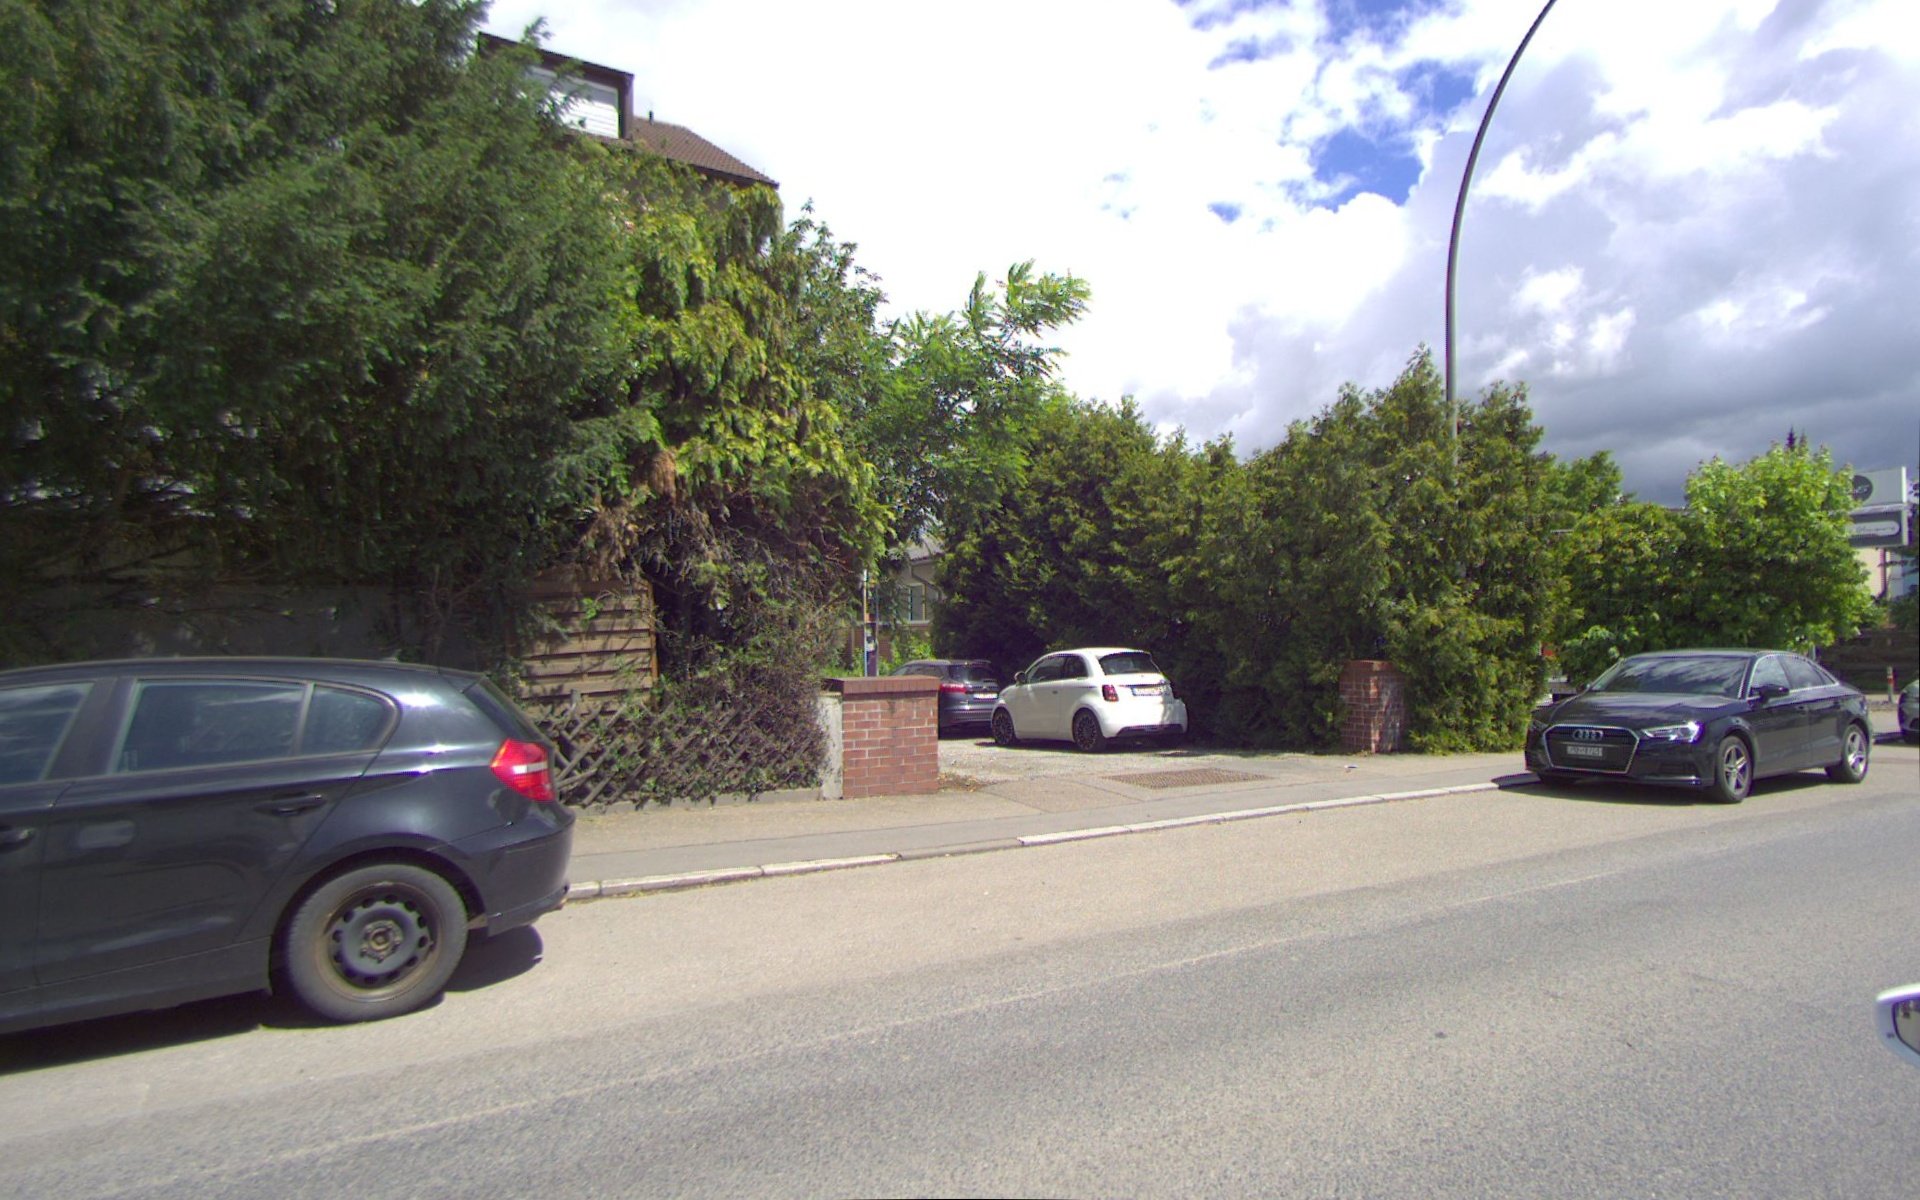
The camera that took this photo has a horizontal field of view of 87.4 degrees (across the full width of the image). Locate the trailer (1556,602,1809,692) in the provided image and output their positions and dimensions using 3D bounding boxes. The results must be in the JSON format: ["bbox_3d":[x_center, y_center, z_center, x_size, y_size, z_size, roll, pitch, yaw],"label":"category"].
[{"bbox_3d":[23.814,1.657,33.481,2.699,2.686,6.217,1,-5,-29],"label":"trailer"}]

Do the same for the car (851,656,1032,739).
[{"bbox_3d":[-0.486,1.913,20.086,1.976,1.470,3.971,1,-5,-30],"label":"car"}]

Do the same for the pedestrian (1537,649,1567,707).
[{"bbox_3d":[17.182,2.252,29.173,0.491,1.669,0.521,1,-4,-30],"label":"pedestrian"}]

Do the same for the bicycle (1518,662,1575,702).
[{"bbox_3d":[17.581,2.445,30.074,2.159,1.100,0.468,1,0,-30],"label":"bicycle"}]

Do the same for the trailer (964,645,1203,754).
[{"bbox_3d":[1.791,1.552,15.934,1.778,1.478,3.973,1,-6,-28],"label":"trailer"}]

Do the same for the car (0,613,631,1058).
[{"bbox_3d":[-3.672,0.827,3.971,4.287,1.454,1.655,1,-4,-30],"label":"car"}]

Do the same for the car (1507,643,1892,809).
[{"bbox_3d":[7.820,1.181,10.530,4.287,1.432,1.655,1,-4,-30],"label":"car"}]

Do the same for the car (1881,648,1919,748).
[{"bbox_3d":[15.830,1.428,15.172,4.152,1.450,1.711,1,-4,-32],"label":"car"}]
